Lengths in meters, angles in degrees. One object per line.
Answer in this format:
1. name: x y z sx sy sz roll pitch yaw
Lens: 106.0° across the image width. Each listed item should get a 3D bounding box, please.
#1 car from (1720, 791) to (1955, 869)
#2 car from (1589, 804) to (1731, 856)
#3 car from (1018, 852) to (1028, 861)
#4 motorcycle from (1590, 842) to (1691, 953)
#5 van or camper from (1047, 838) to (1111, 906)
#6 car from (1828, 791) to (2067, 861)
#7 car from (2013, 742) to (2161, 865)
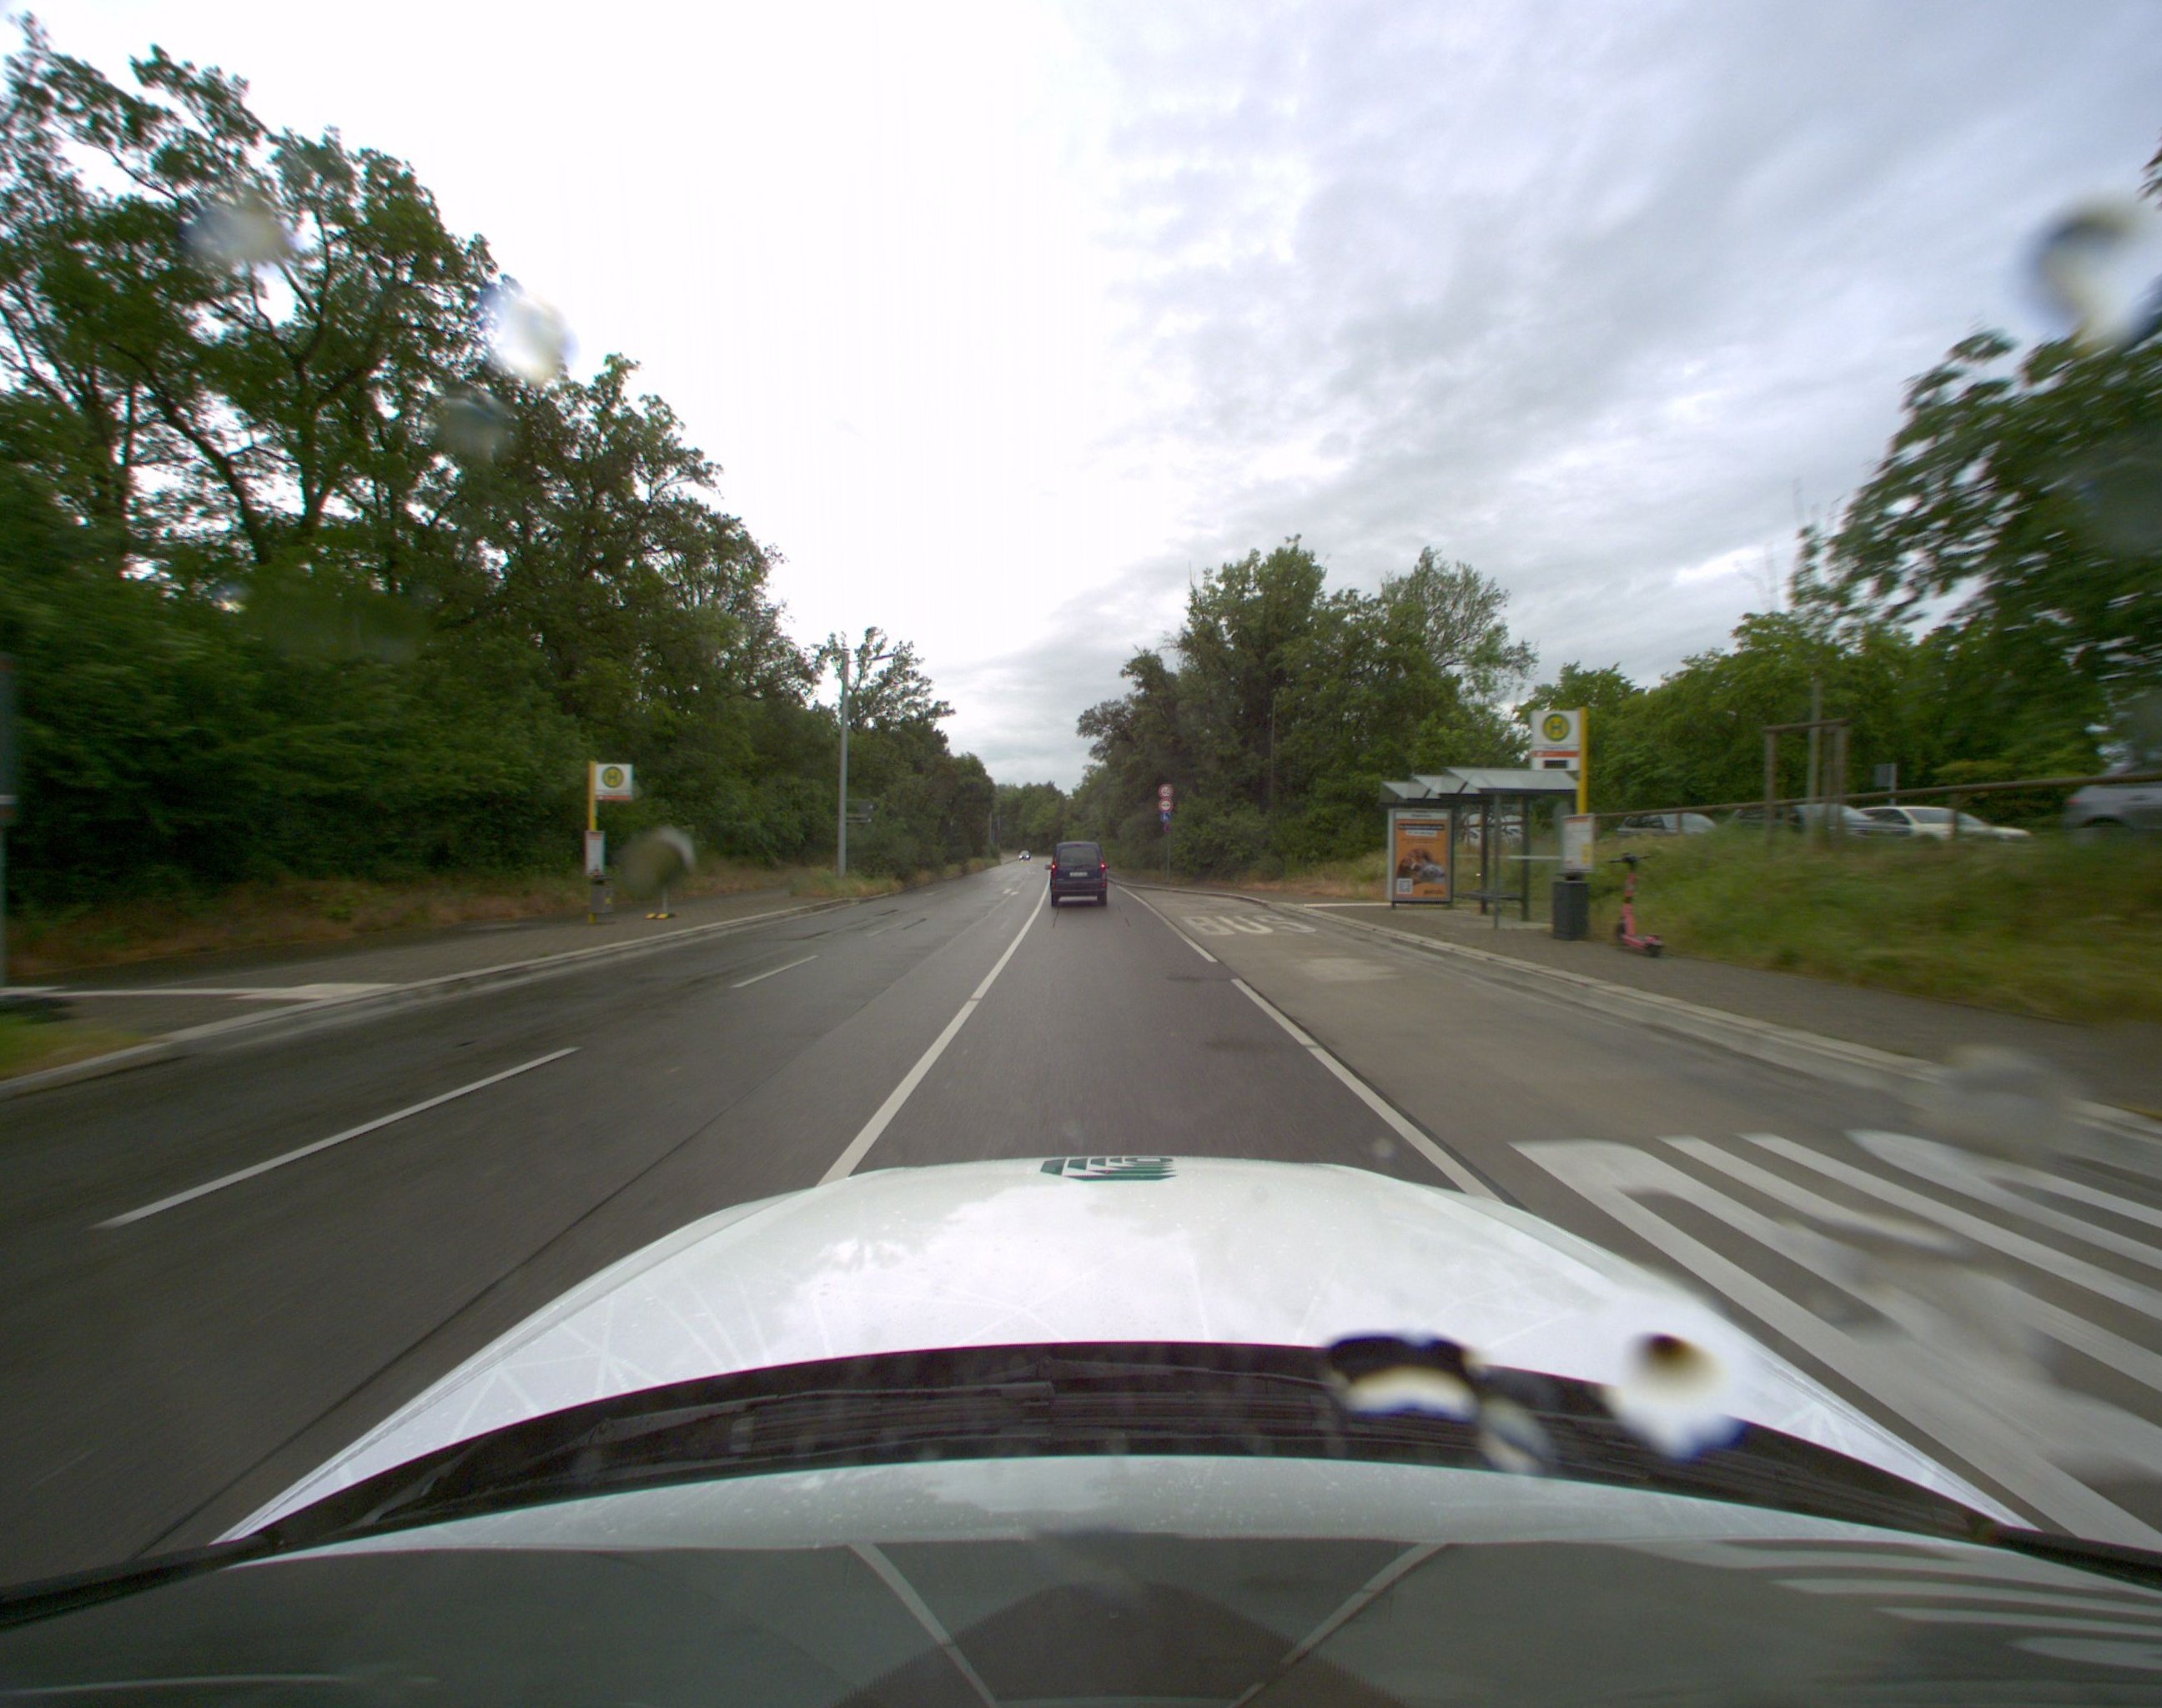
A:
1. car: 18.595 -0.551 20.387 1.984 1.662 4.480 3 1 6
2. car: 19.504 -0.738 27.732 1.875 1.480 4.791 2 -1 7
3. car: -9.684 0.444 136.578 1.595 1.441 3.986 -1 0 -3
4. motorcycle: 7.034 0.505 10.305 0.584 1.289 1.544 0 0 16
5. van or camper: -0.061 0.551 24.418 1.707 1.826 3.998 2 -2 0
6. car: 21.166 -0.614 20.179 1.875 1.480 4.076 2 -1 7
7. car: 14.618 -0.646 9.806 1.986 1.480 4.287 2 -1 2
